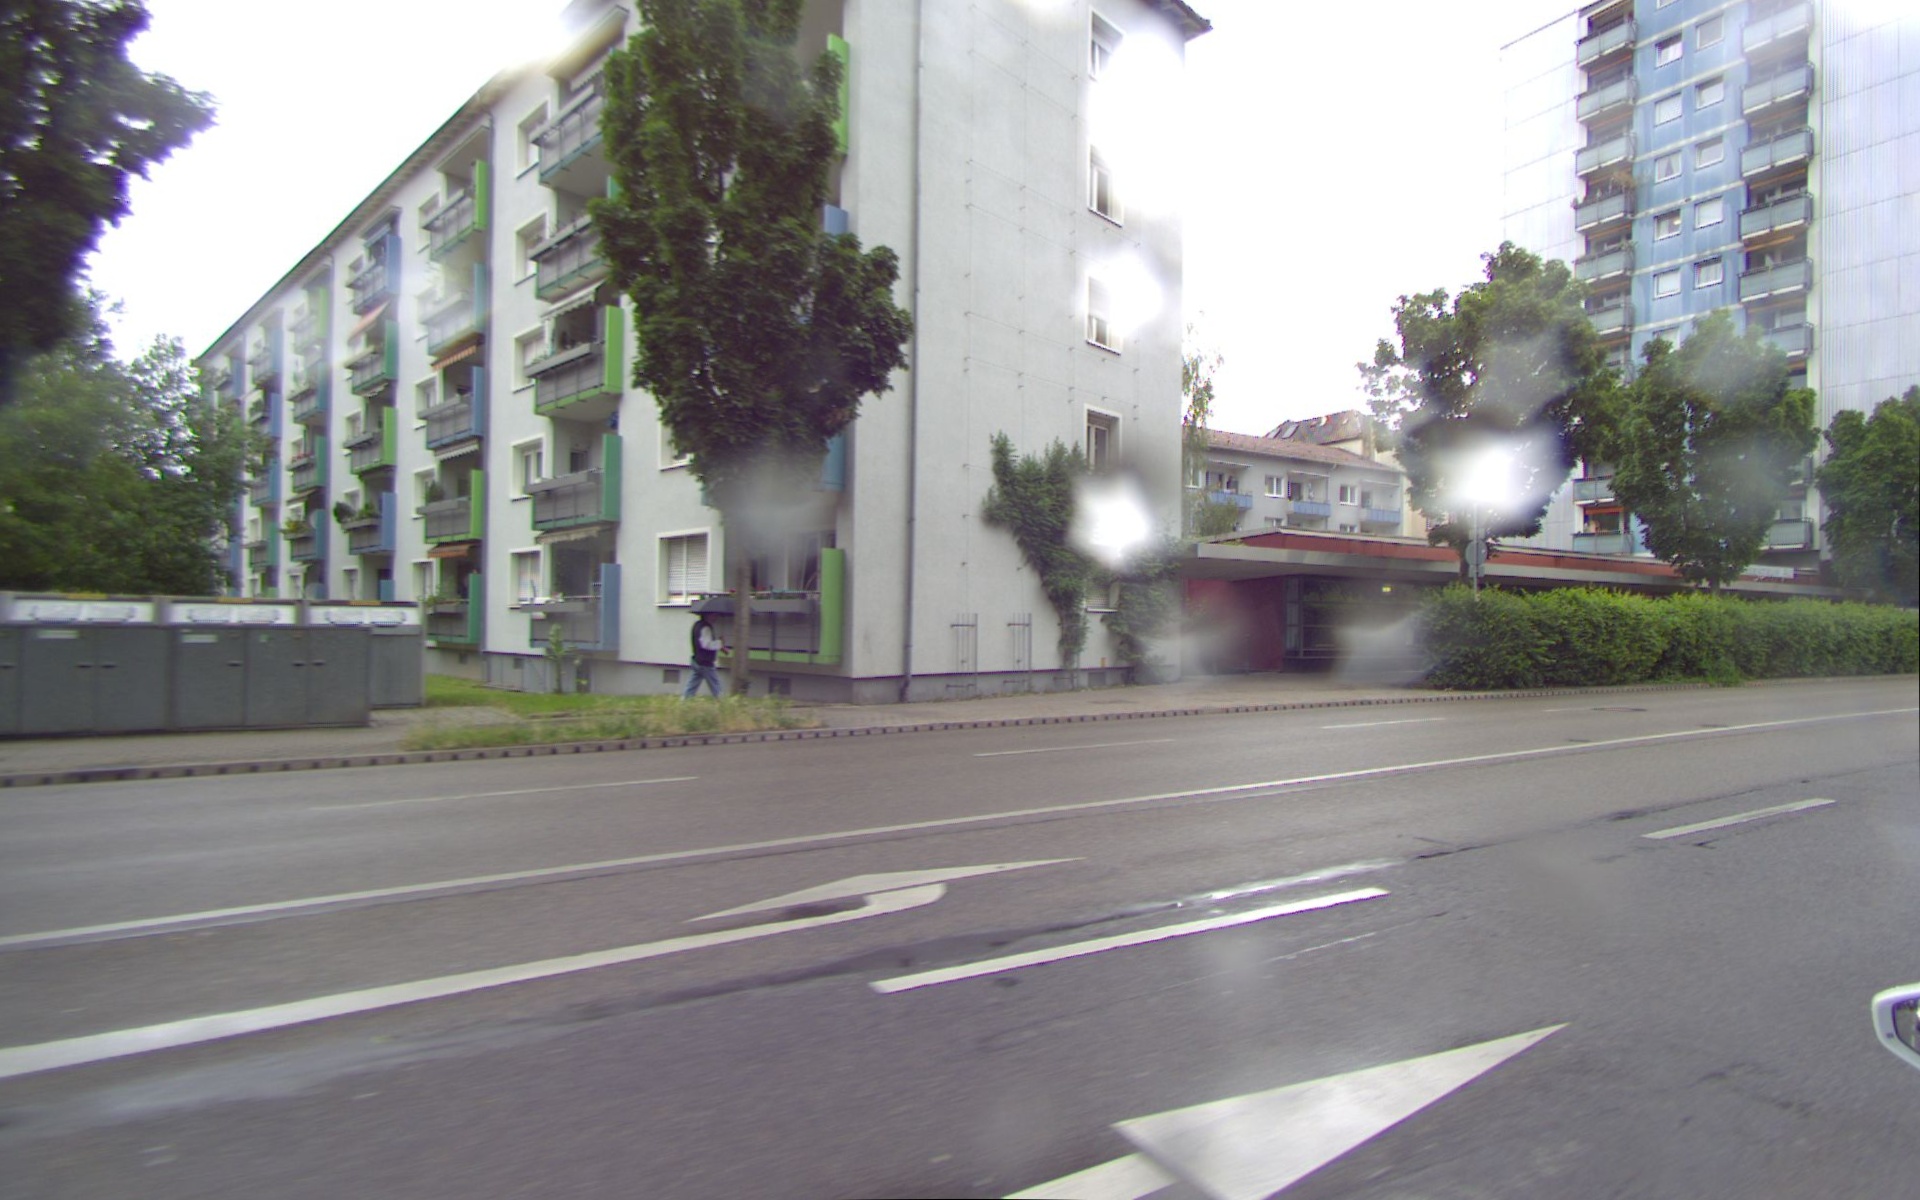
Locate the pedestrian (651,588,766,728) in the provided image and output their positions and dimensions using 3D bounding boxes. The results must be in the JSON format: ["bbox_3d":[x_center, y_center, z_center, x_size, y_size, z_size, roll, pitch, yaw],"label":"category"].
[{"bbox_3d":[-3.490,0.775,13.926,1.250,1.828,1.127,1,-1,-34],"label":"pedestrian"}]
